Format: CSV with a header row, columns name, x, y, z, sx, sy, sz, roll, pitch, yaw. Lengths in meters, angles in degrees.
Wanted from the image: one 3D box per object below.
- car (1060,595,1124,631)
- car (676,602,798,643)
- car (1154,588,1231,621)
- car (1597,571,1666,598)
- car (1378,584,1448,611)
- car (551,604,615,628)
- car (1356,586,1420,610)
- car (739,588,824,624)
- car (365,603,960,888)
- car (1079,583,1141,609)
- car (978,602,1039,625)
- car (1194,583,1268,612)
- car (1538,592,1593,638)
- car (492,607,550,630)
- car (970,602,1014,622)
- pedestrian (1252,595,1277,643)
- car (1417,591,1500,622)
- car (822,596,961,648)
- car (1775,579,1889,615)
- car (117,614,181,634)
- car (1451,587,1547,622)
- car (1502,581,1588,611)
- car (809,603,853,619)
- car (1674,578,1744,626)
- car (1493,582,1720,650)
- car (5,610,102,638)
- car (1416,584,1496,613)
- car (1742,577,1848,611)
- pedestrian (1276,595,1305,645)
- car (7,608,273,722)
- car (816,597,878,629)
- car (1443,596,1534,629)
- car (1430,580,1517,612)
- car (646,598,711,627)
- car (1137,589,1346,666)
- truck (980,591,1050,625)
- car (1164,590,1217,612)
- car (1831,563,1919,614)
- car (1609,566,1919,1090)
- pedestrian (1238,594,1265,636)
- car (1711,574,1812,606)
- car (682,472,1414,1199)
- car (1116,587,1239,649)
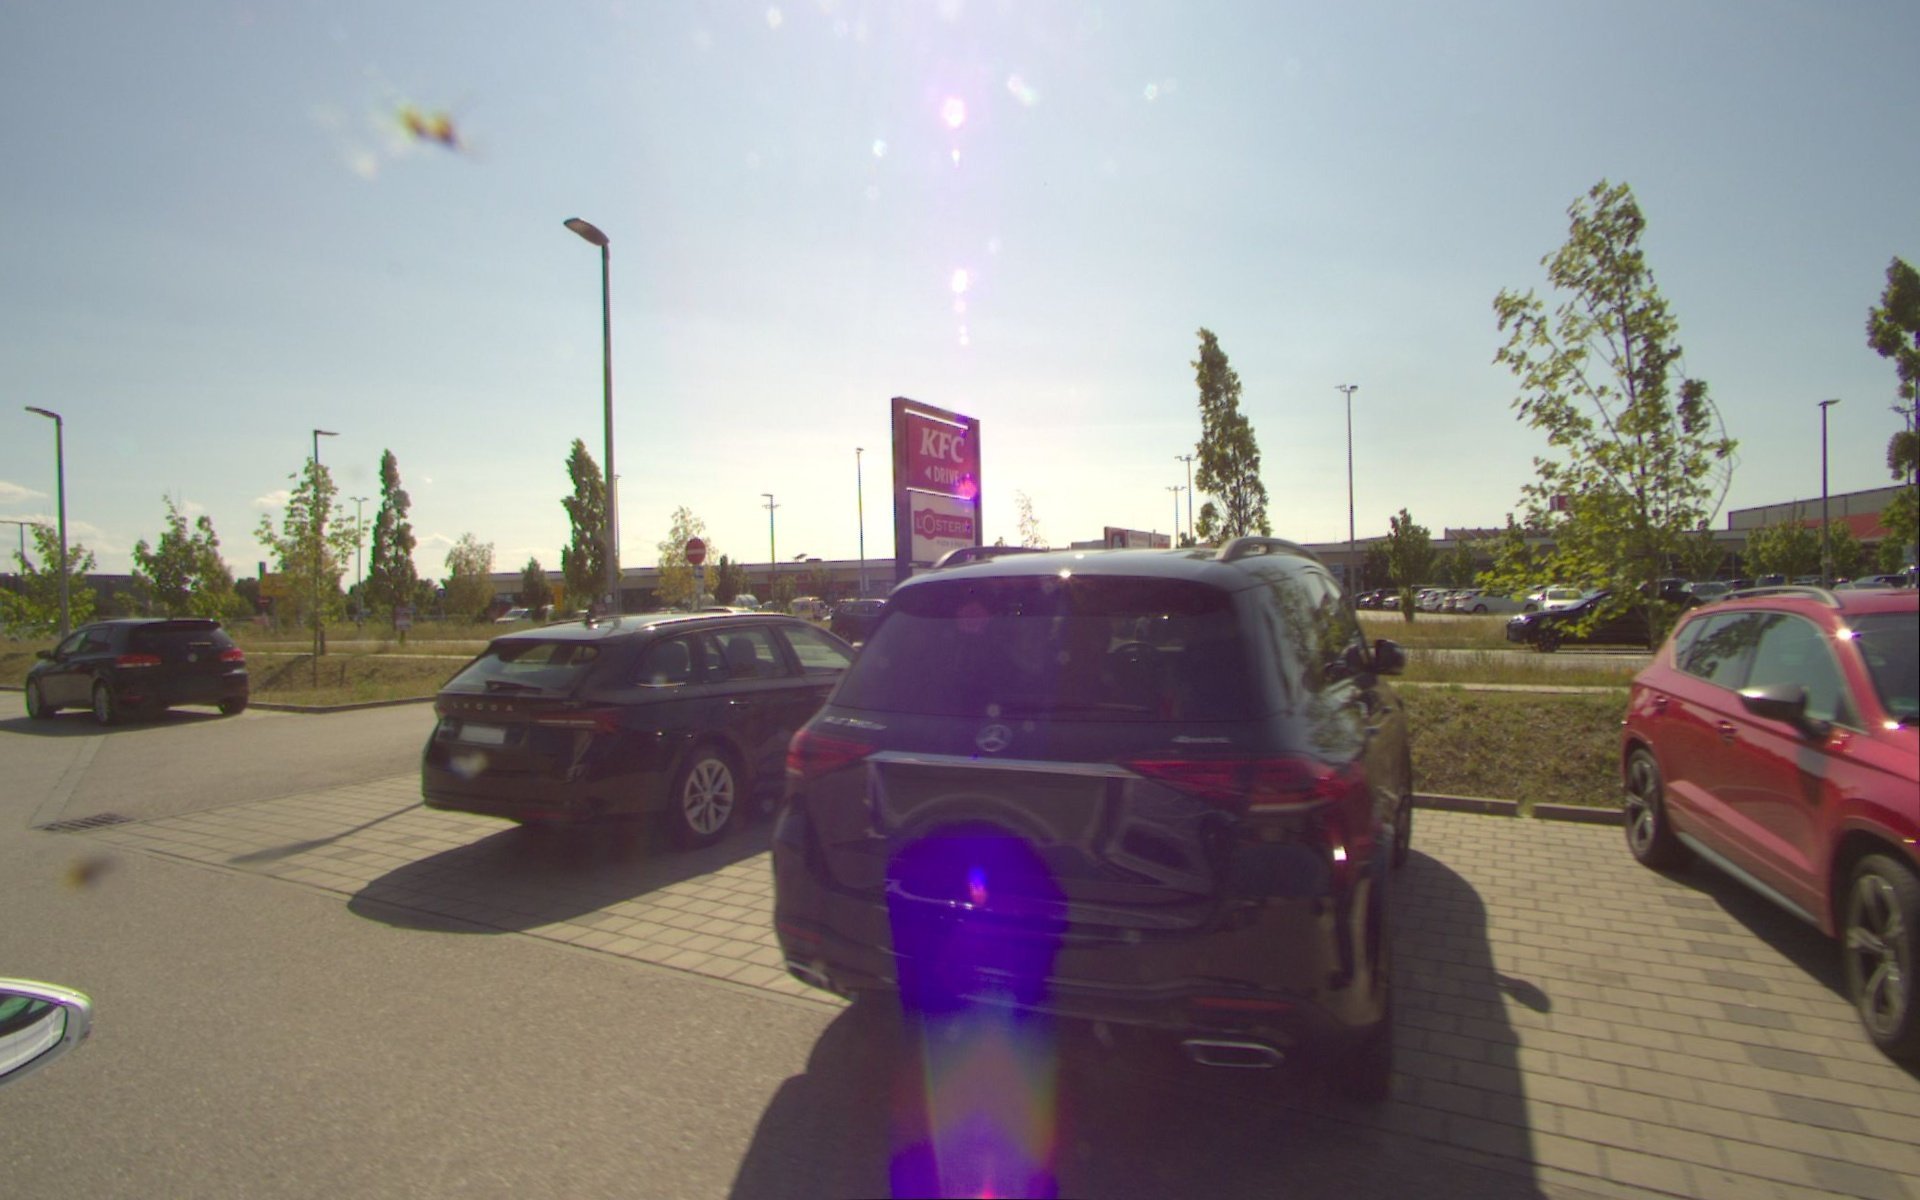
name,x,y,z,sx,sy,sz,roll,pitch,yaw
car,7.377,0.709,55.477,1.970,1.870,4.712,0,0,29
car,-8.631,0.845,38.701,4.533,1.503,1.870,0,0,30
car,13.632,0.276,58.950,1.971,1.870,4.383,0,0,-30
car,51.210,-1.159,76.410,3.924,2.040,1.998,0,0,12
car,33.448,-0.175,74.088,4.319,1.880,1.955,0,0,6
car,-27.743,1.171,73.881,1.966,1.749,4.413,0,0,22
car,33.976,-0.147,79.631,4.319,1.880,1.955,0,0,6
car,-11.943,0.397,67.623,2.769,2.267,6.295,0,0,22
car,-1.865,0.793,7.791,1.848,1.506,4.436,0,0,28
car,11.971,-0.277,80.199,4.836,2.040,2.082,0,0,5
car,3.578,0.971,73.850,4.218,1.639,1.987,-1,0,-35
car,17.618,-0.157,65.321,4.485,1.880,1.955,0,0,9
car,26.471,0.627,43.731,1.971,1.880,4.264,0,0,32
car,-32.566,1.379,74.347,1.812,1.639,3.654,0,0,28
car,2.568,0.918,79.221,3.408,1.572,1.666,0,0,4
pedestrian,10.141,0.619,33.320,0.658,1.577,0.622,0,1,35
car,31.711,0.424,63.779,4.320,1.880,1.955,0,0,9
car,-2.385,0.741,34.560,4.533,1.686,1.870,0,0,30
car,47.662,-0.154,54.799,4.320,1.880,1.955,0,0,9
car,-61.450,1.791,75.937,1.559,1.414,3.715,-1,0,5
car,29.965,0.258,55.791,4.320,1.880,1.955,0,0,9
car,37.567,-0.243,64.421,4.320,1.880,1.955,0,0,9
car,-11.122,0.947,86.365,3.419,1.418,1.431,0,0,13
car,31.017,0.078,41.560,1.927,1.880,4.381,0,0,32
car,16.743,0.401,26.273,4.727,1.646,1.993,0,0,25
car,-48.965,1.283,54.101,3.924,1.503,1.877,0,0,11
car,32.729,-0.069,66.194,4.320,1.880,1.955,0,0,9
car,48.094,-0.322,57.752,4.320,1.880,1.955,0,0,9
pedestrian,10.847,0.640,32.822,0.746,1.621,0.688,0,1,35
car,-12.720,0.927,15.502,4.058,1.497,1.833,-1,2,30
car,-7.277,0.829,65.056,1.964,2.040,5.170,0,0,18
car,30.857,0.734,58.563,4.320,1.880,1.955,0,0,9
car,31.185,-0.236,60.956,4.320,1.880,1.955,0,0,9
car,-20.232,0.901,72.170,1.964,2.040,5.067,0,0,18
car,6.913,0.637,24.645,4.684,1.756,1.992,0,0,27
truck,3.275,0.450,58.507,1.969,1.888,5.410,0,0,28
car,19.718,0.071,85.899,4.320,1.880,1.955,0,0,9
car,35.610,-0.409,38.926,1.927,1.880,4.381,0,0,32
car,4.352,0.731,4.176,1.862,1.629,4.074,0,-1,20
pedestrian,10.018,0.534,34.404,0.714,1.416,0.862,-1,-1,26
car,48.163,-0.604,60.283,4.320,1.880,1.955,0,0,9
car,1.005,0.668,4.636,1.865,1.783,4.575,-1,-1,26
car,7.387,0.576,34.610,1.847,1.980,4.882,0,0,-20
